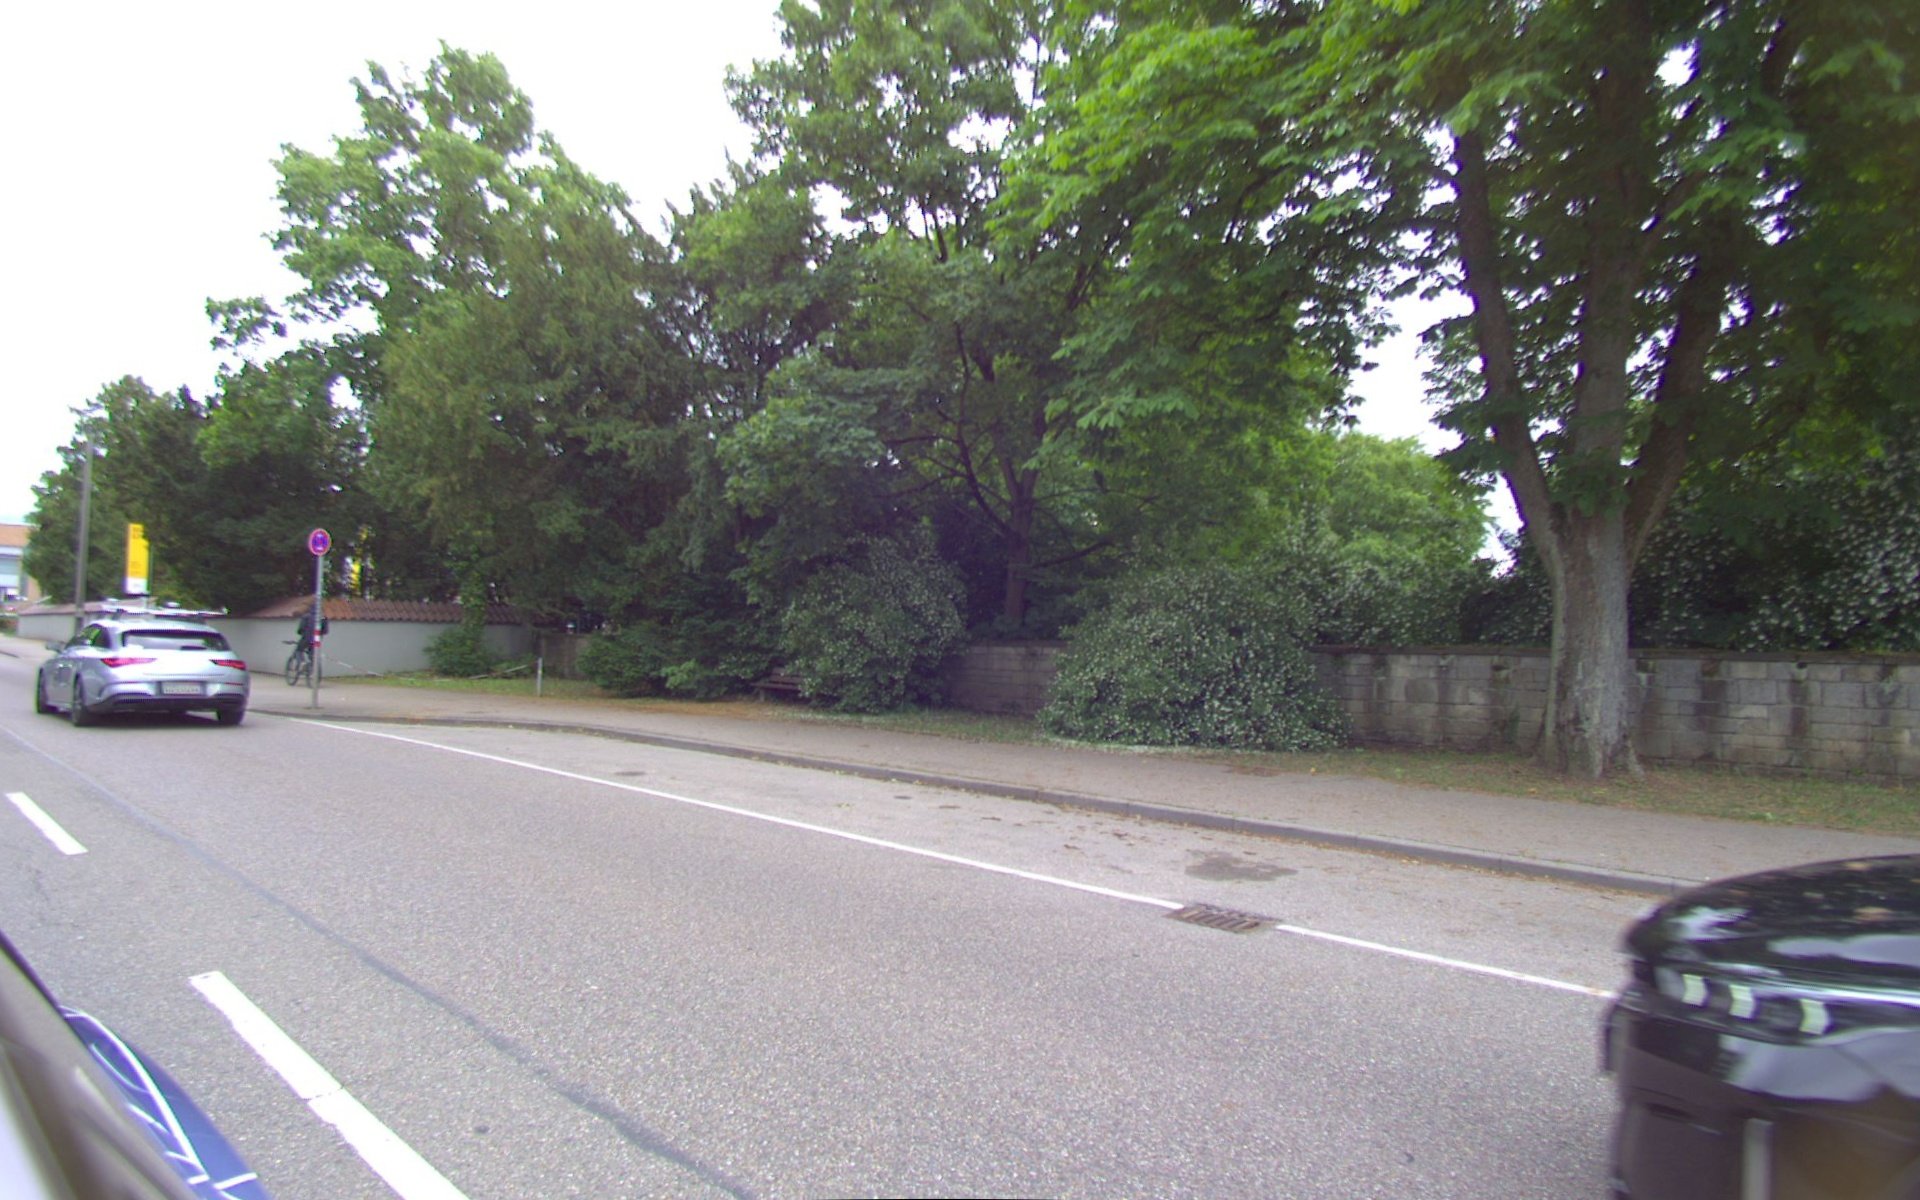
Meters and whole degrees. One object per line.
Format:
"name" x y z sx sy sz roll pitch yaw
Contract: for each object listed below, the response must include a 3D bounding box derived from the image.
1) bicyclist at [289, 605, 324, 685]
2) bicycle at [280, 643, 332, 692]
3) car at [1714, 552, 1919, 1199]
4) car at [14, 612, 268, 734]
"bicyclist" -14.303 0.973 22.135 0.588 1.697 0.482 0 0 41
"bicycle" -14.349 1.466 22.182 1.748 0.971 0.490 0 1 41
"car" 3.343 0.722 1.057 3.998 1.495 1.683 0 -4 41
"car" -11.556 0.952 14.178 4.408 1.413 1.739 0 -4 38
